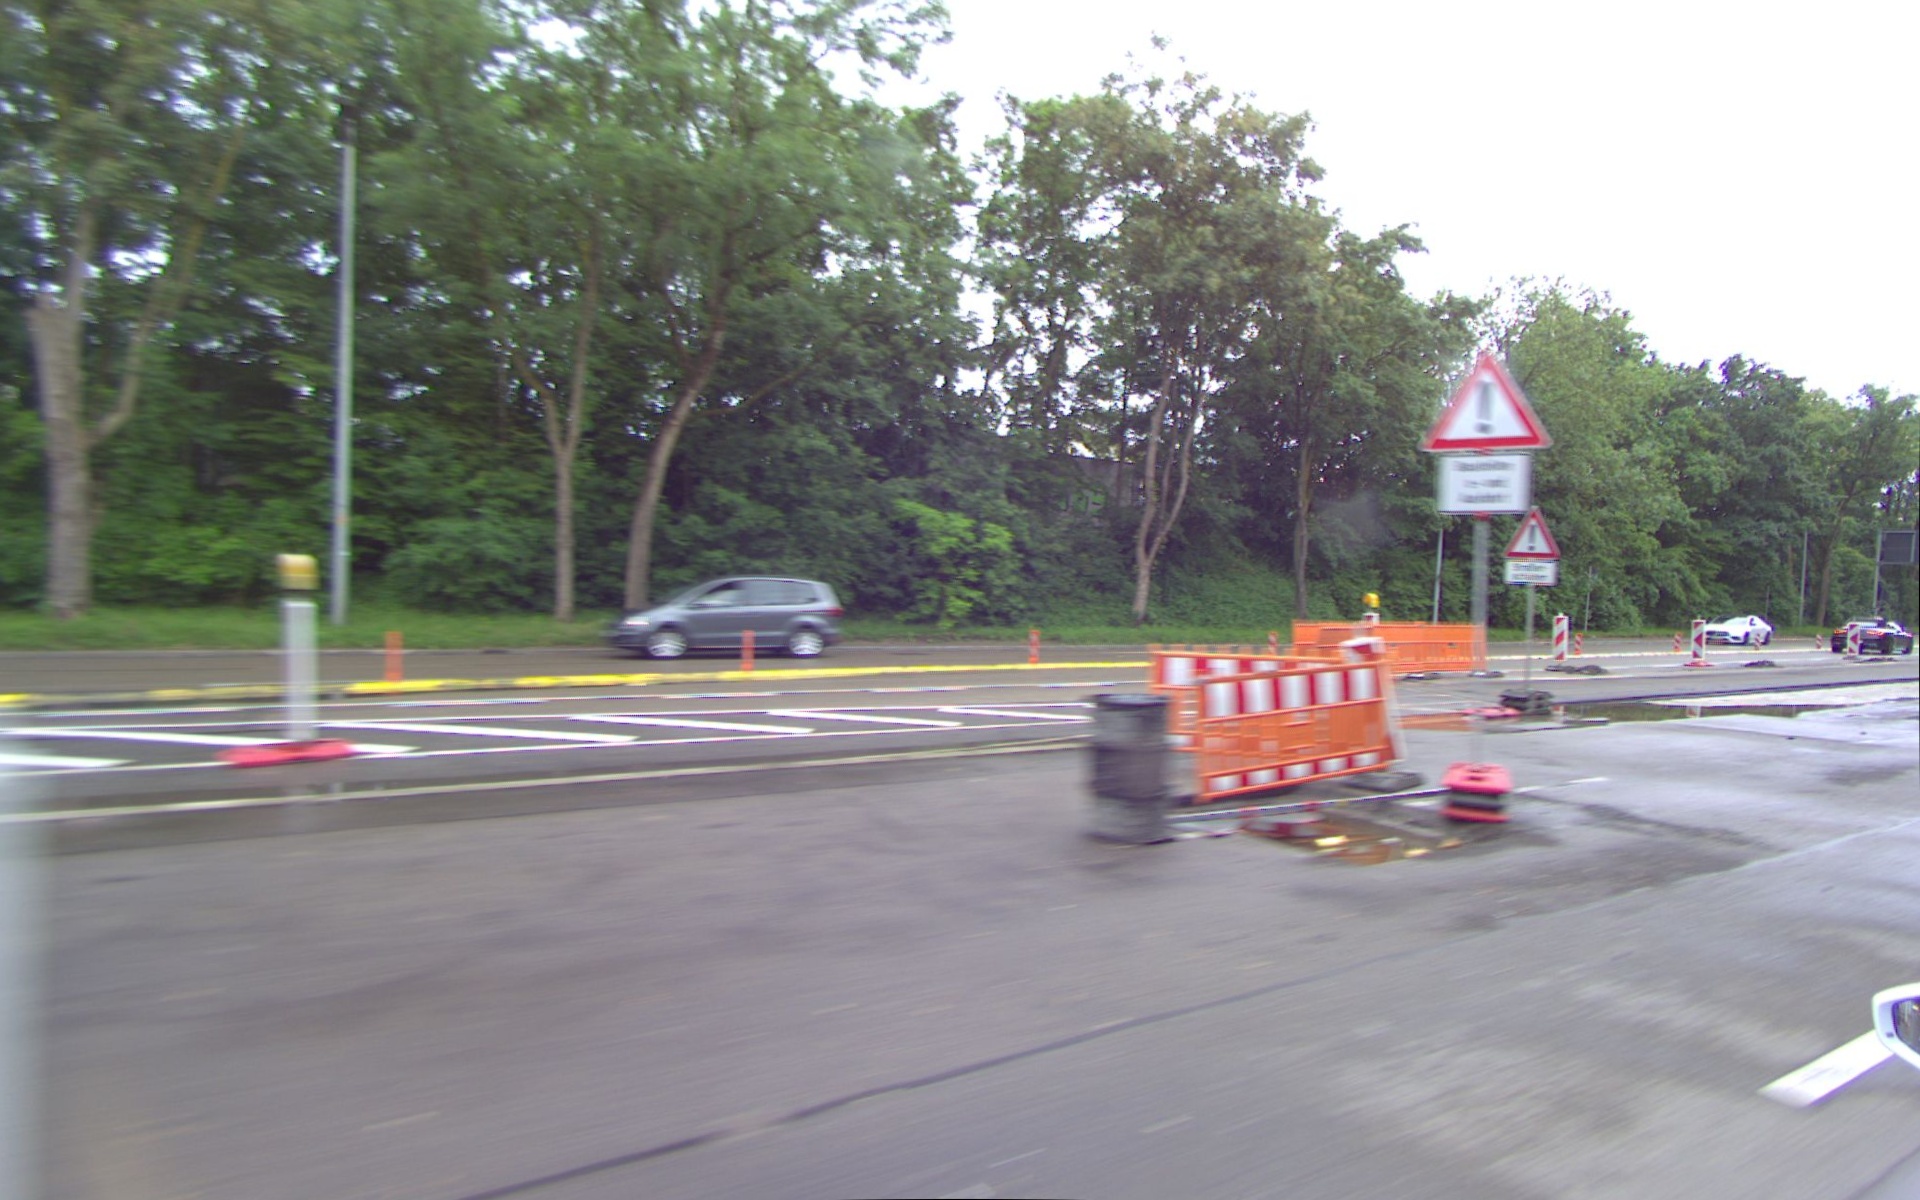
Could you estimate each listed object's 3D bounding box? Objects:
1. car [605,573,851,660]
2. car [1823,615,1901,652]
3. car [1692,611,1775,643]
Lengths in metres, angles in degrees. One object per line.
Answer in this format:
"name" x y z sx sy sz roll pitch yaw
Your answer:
"car" -4.761 0.361 20.877 4.713 1.635 1.666 1 0 -32
"car" 37.565 1.371 41.806 4.003 1.423 1.596 1 2 -37
"car" 37.052 1.282 48.084 4.421 1.445 1.773 1 1 -33
